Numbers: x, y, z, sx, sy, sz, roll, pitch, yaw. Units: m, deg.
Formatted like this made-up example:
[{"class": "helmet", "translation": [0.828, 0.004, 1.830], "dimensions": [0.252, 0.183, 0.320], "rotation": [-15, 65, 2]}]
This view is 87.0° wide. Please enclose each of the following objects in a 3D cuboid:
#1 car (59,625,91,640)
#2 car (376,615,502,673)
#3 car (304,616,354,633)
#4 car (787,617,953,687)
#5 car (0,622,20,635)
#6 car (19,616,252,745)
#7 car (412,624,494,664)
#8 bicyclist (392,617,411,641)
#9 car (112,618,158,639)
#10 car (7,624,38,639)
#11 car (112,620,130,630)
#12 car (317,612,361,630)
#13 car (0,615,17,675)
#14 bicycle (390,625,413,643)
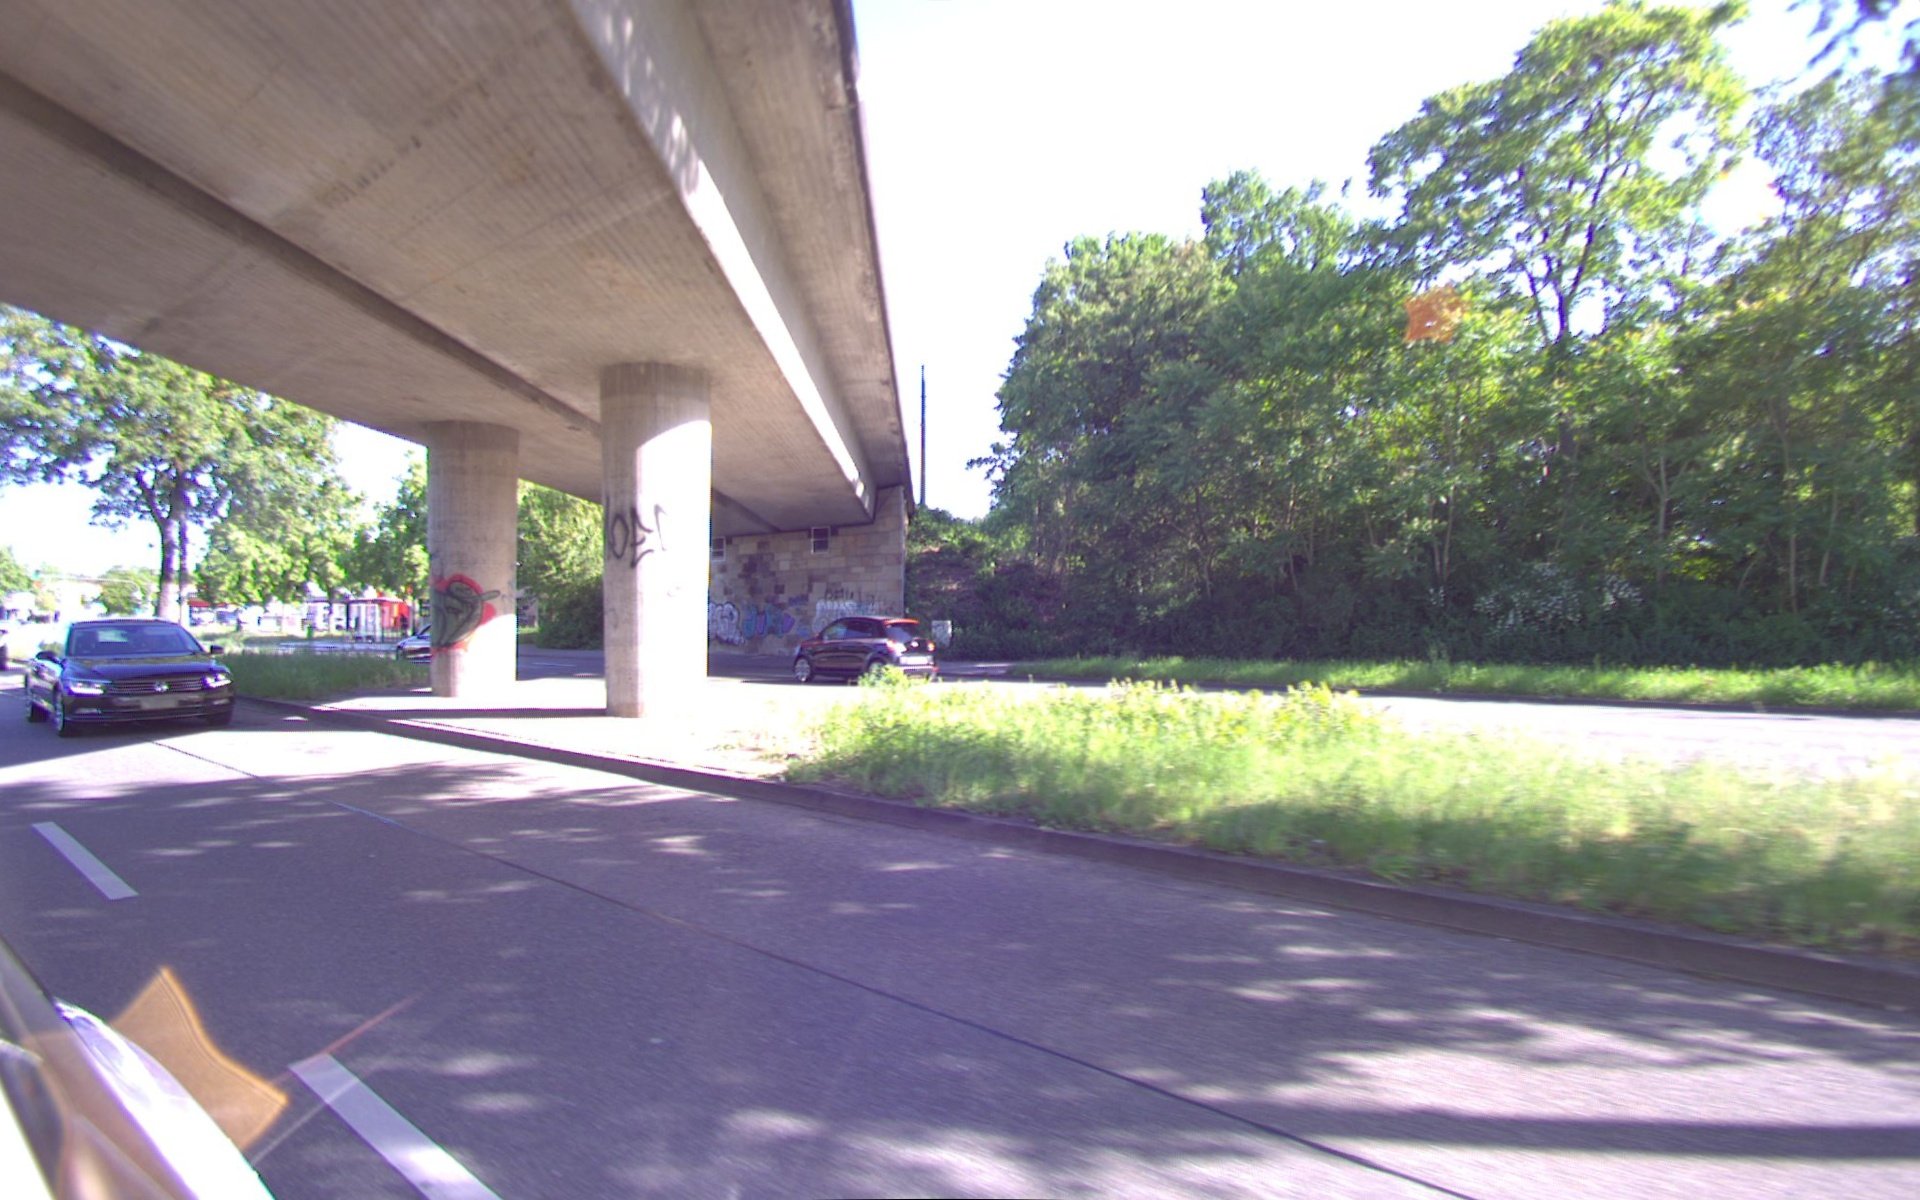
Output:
[{"class": "car", "translation": [-94.521, 3.449, 108.074], "dimensions": [4.487, 1.466, 1.894], "rotation": [-1, -3, 41]}, {"class": "car", "translation": [-15.034, 1.252, 29.131], "dimensions": [3.998, 1.555, 1.823], "rotation": [-1, -4, 41]}, {"class": "car", "translation": [-66.665, 2.598, 106.983], "dimensions": [4.073, 1.674, 1.896], "rotation": [-1, 0, -1]}, {"class": "car", "translation": [-2.111, 1.142, 23.320], "dimensions": [3.637, 1.472, 1.823], "rotation": [-1, -2, 41]}, {"class": "car", "translation": [-112.780, 3.390, 119.899], "dimensions": [4.109, 1.462, 1.624], "rotation": [-1, -3, 41]}, {"class": "car", "translation": [-11.389, 0.979, 13.881], "dimensions": [4.264, 1.464, 1.824], "rotation": [-1, 0, 42]}, {"class": "car", "translation": [-22.024, 1.873, 43.890], "dimensions": [4.177, 1.629, 1.711], "rotation": [-1, -2, 41]}, {"class": "bicyclist", "translation": [-34.075, 1.748, 61.754], "dimensions": [1.026, 1.412, 0.673], "rotation": [-1, 0, 41]}, {"class": "car", "translation": [-57.996, 1.998, 71.124], "dimensions": [4.087, 1.453, 1.797], "rotation": [-1, -1, 41]}, {"class": "car", "translation": [-98.632, 3.292, 106.443], "dimensions": [4.628, 1.446, 1.798], "rotation": [-1, -3, 41]}, {"class": "car", "translation": [-144.582, 4.251, 174.370], "dimensions": [4.116, 1.625, 1.740], "rotation": [-1, -2, 40]}, {"class": "car", "translation": [-68.970, 2.375, 112.386], "dimensions": [3.778, 1.864, 1.847], "rotation": [-1, 0, 1]}, {"class": "car", "translation": [-29.752, 1.335, 30.136], "dimensions": [4.694, 1.696, 1.973], "rotation": [-1, 1, 41]}, {"class": "bicycle", "translation": [-34.129, 2.091, 61.803], "dimensions": [1.713, 1.038, 0.676], "rotation": [-1, 0, 41]}]
